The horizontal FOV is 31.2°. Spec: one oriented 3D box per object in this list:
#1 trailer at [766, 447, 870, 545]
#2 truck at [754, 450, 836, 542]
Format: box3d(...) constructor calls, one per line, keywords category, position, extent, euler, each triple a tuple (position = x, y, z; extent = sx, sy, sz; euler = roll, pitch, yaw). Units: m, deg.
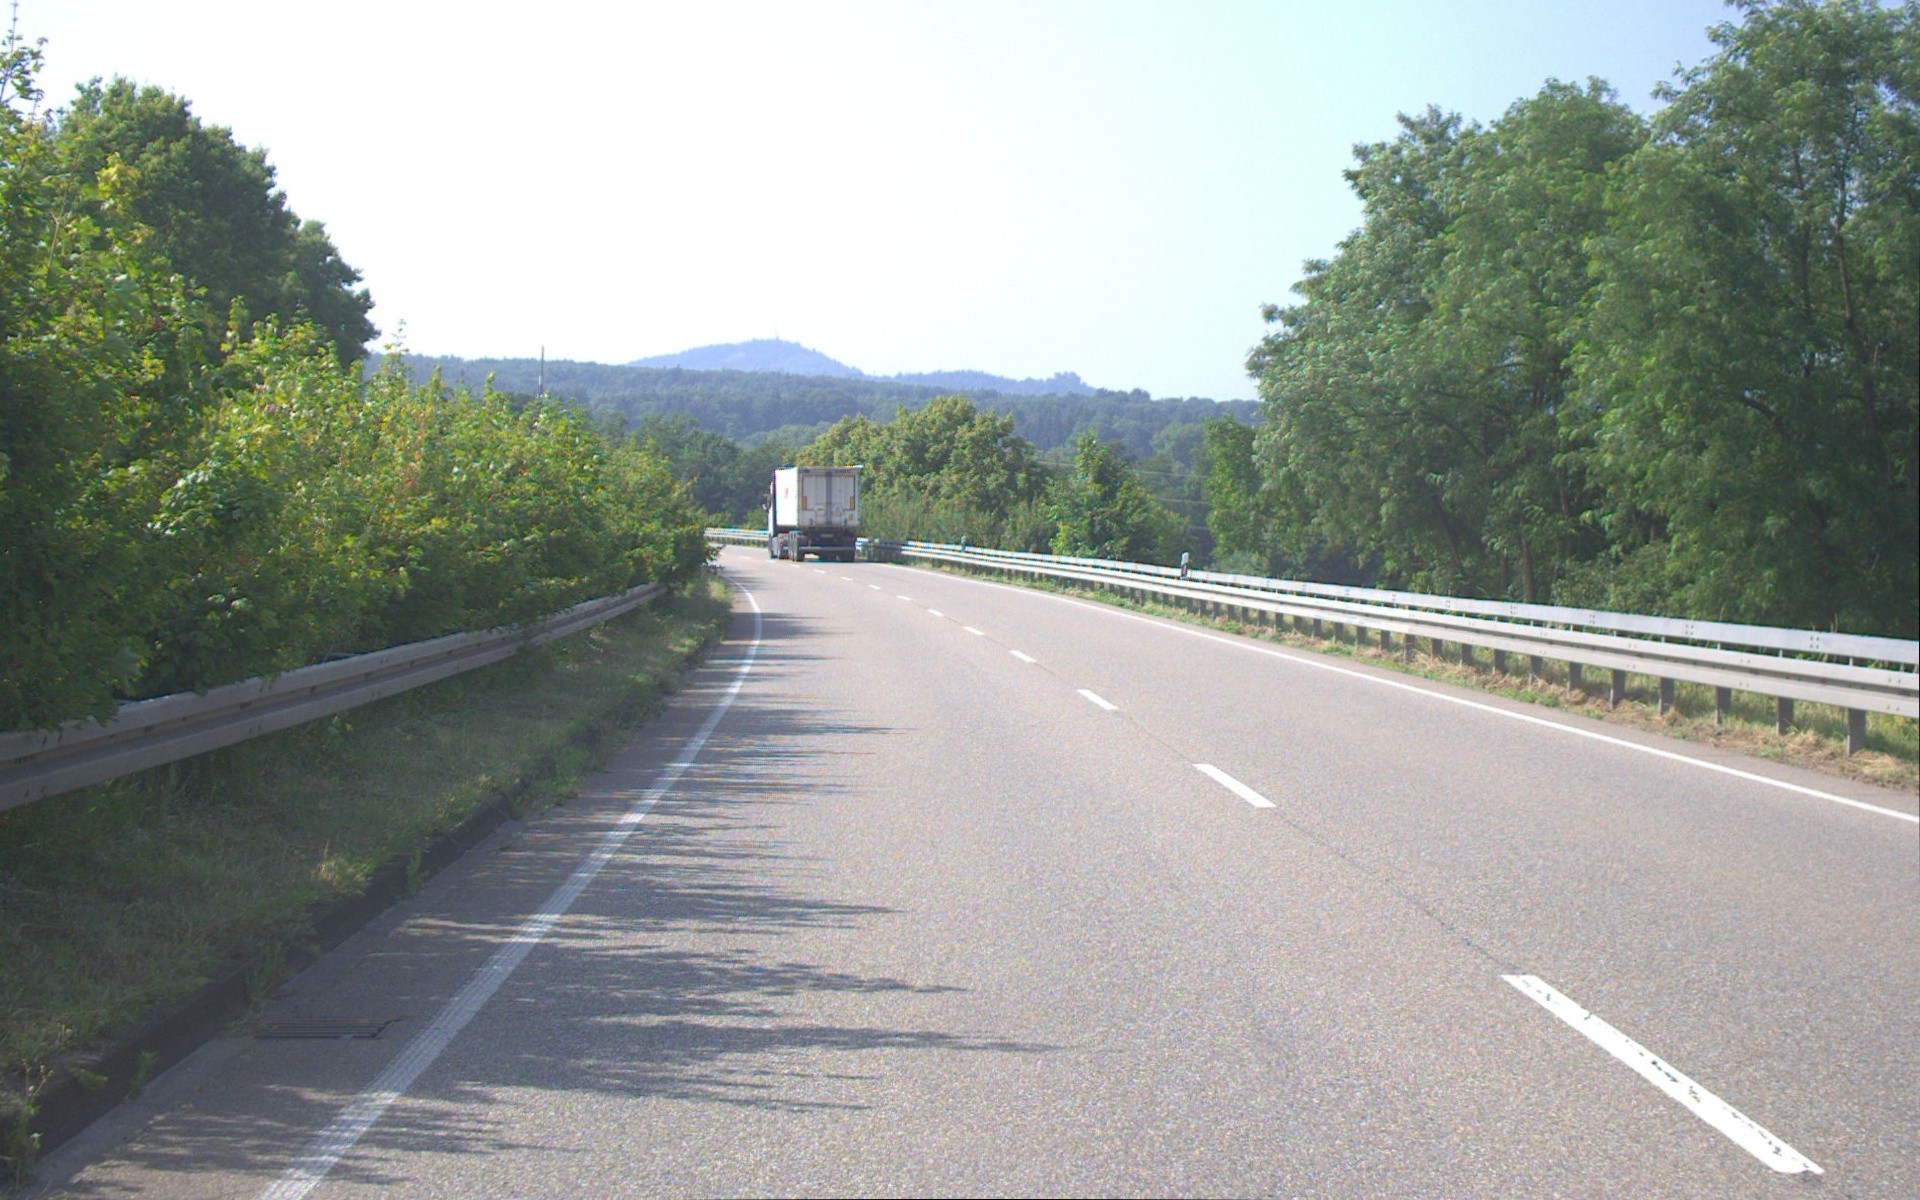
box3d(category="trailer", position=(-5.941, -4.315, 142.447), extent=(2.678, 3.893, 9.676), euler=(0, 2, -12))
box3d(category="truck", position=(-7.155, -4.487, 148.297), extent=(2.658, 3.882, 5.650), euler=(1, 2, -12))
